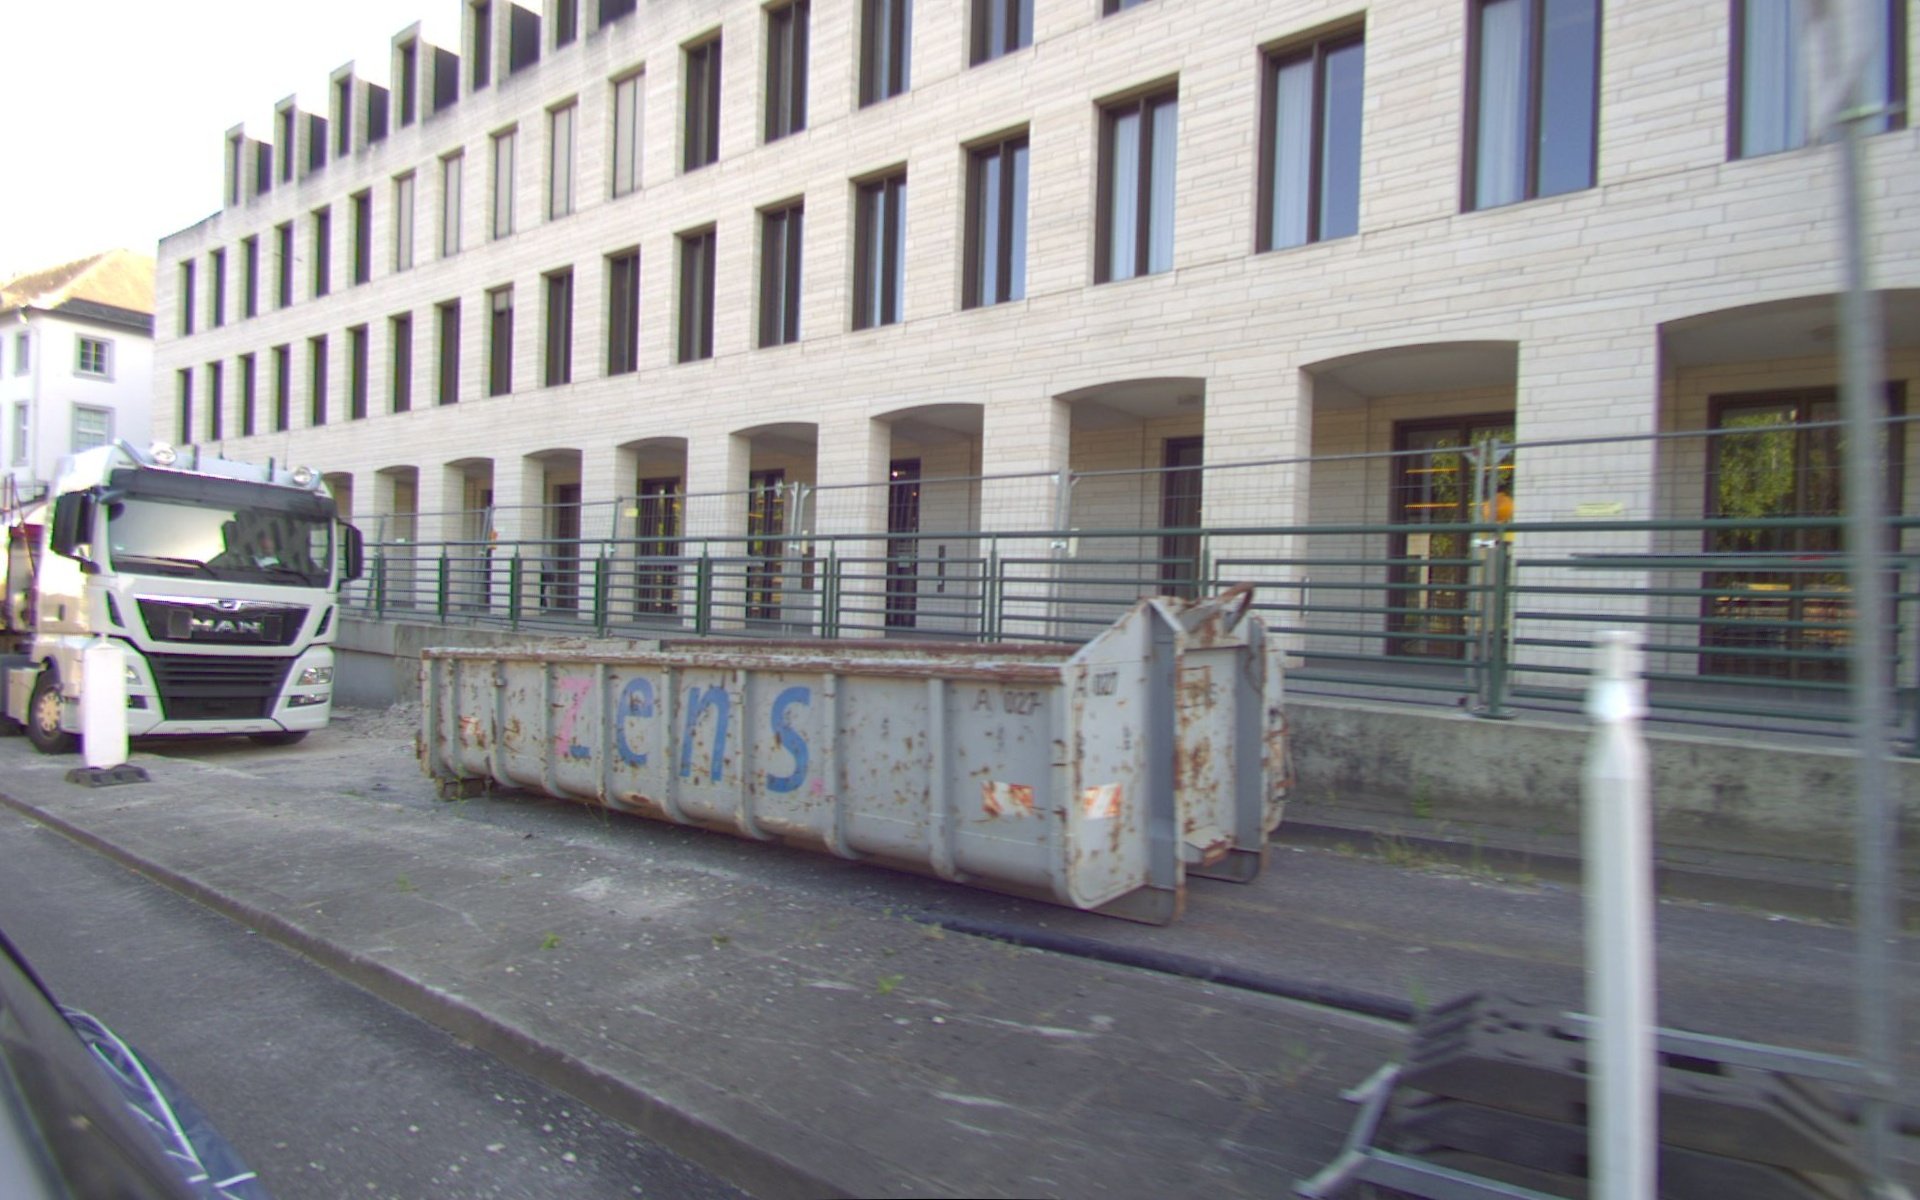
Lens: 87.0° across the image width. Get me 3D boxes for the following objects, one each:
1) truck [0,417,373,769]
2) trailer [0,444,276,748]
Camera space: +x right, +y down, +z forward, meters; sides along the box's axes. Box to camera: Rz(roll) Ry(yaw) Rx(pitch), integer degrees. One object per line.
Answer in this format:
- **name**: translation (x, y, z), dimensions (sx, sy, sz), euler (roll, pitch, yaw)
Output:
- **truck**: translation (-10.192, 0.090, 12.905), dimensions (5.808, 3.516, 2.554), euler (-2, -6, 38)
- **trailer**: translation (-14.146, 0.148, 15.888), dimensions (8.730, 3.697, 2.618), euler (-2, -6, 36)
